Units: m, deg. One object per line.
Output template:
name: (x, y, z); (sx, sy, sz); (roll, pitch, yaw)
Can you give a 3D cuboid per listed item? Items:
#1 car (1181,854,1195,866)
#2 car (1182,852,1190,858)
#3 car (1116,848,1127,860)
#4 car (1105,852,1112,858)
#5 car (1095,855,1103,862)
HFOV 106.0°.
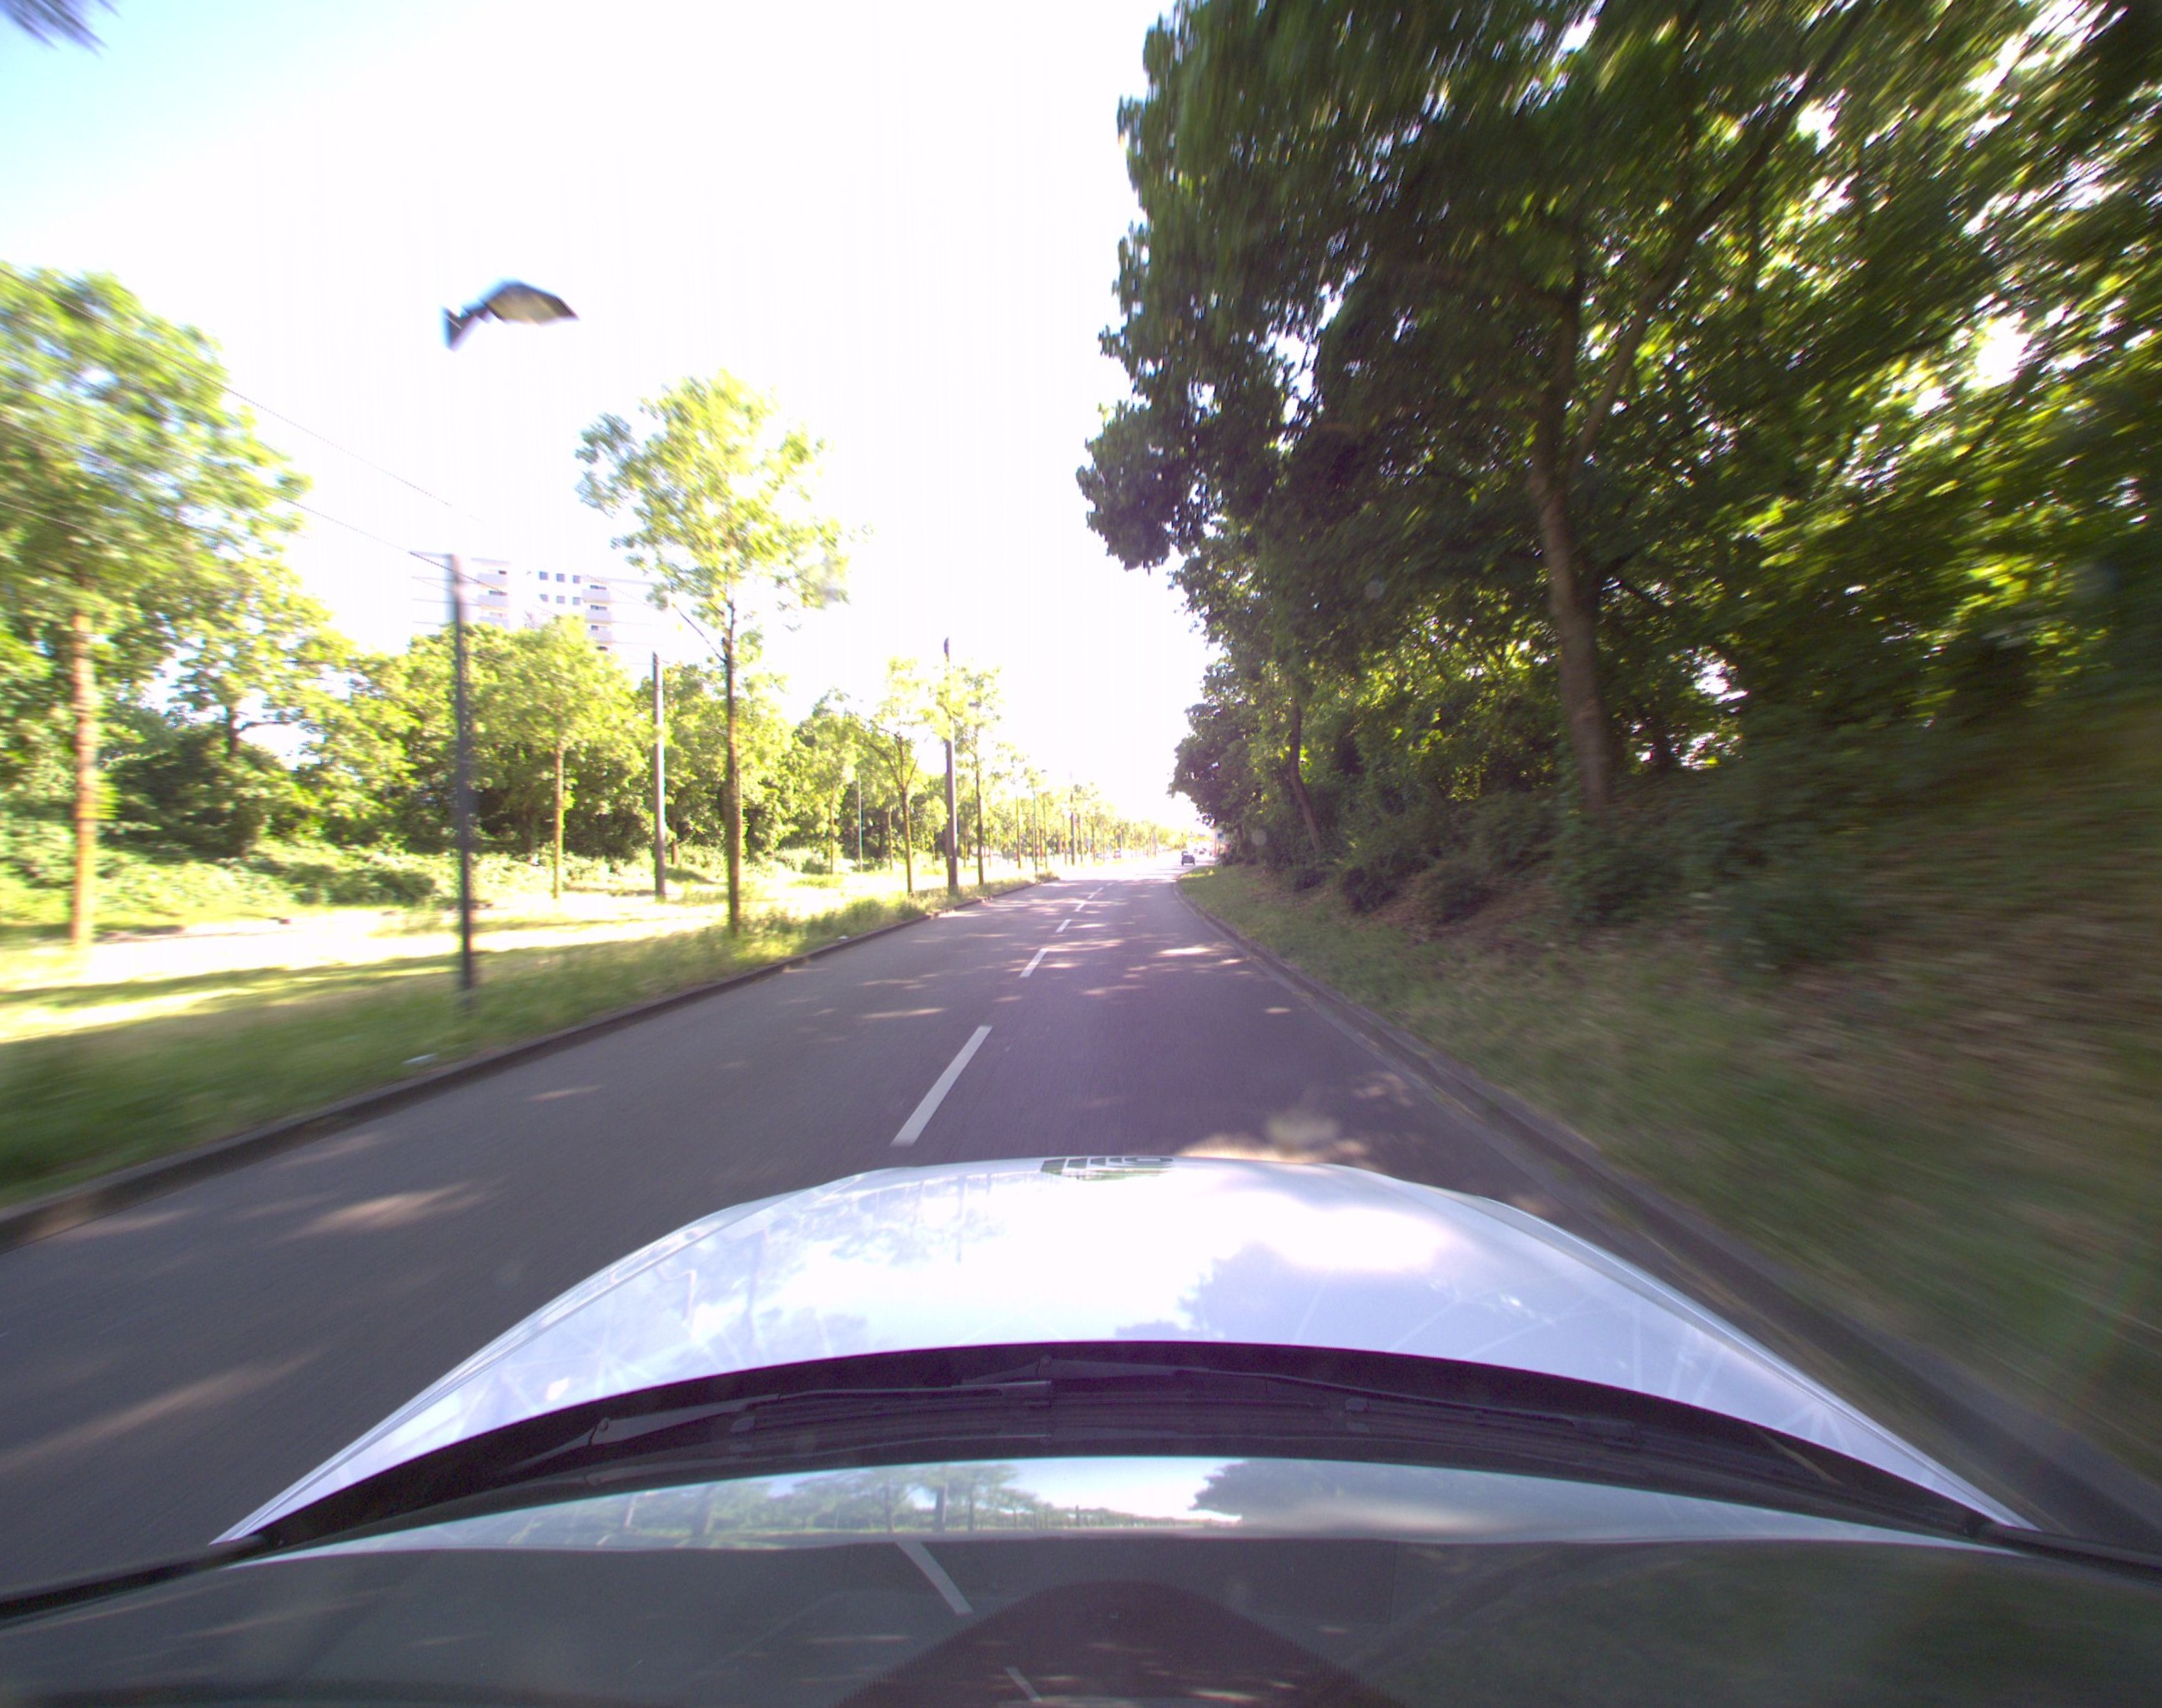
car: (14.107, 0.774, 107.561); (1.624, 1.498, 4.246); (-1, 0, 10)
car: (25.283, 0.187, 196.263); (1.624, 1.498, 4.246); (-1, 0, 10)
car: (11.694, -0.044, 233.761); (2.452, 3.240, 6.147); (0, -1, 7)
car: (7.669, 0.349, 229.225); (1.622, 1.680, 4.201); (-1, 0, 8)
car: (4.753, 1.106, 211.381); (1.622, 1.680, 4.201); (-1, 0, 8)
